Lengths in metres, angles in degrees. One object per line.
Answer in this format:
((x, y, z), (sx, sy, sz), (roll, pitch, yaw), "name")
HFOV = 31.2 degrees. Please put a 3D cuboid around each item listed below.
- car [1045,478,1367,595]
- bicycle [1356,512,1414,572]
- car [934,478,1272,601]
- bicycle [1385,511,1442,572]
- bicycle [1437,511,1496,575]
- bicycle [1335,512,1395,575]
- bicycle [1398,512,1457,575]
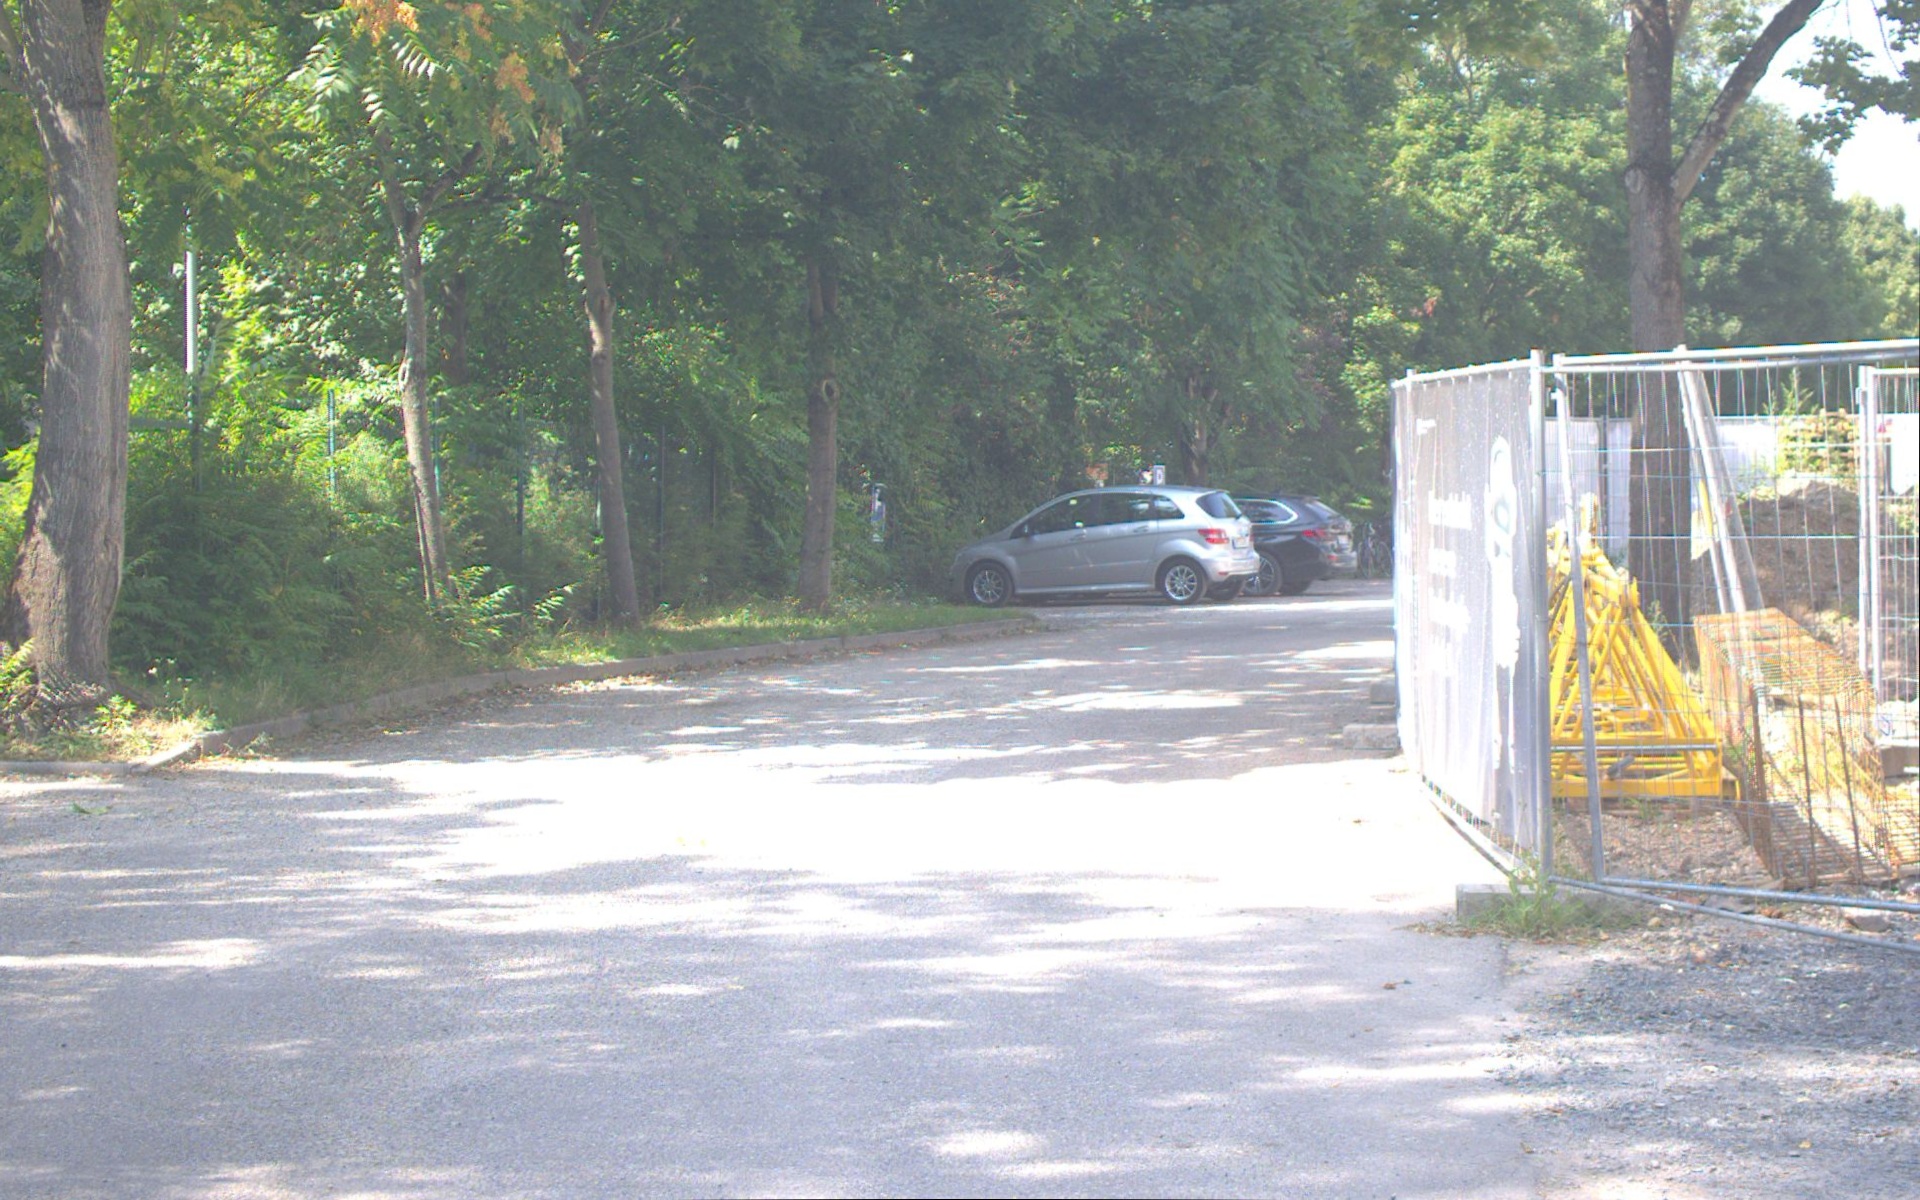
((3.510, -0.930, 48.939), (4.152, 1.607, 1.998), (1, 2, 23), "car")
((7.927, -1.087, 64.071), (0.499, 1.104, 1.798), (1, 2, 26), "bicycle")
((1.952, -0.849, 46.700), (4.152, 1.607, 1.998), (1, 2, 23), "car")
((8.434, -1.095, 63.881), (0.499, 1.104, 1.798), (1, 2, 26), "bicycle")
((9.028, -1.028, 61.228), (0.499, 1.104, 1.798), (1, 2, 26), "bicycle")
((7.317, -1.032, 62.040), (0.499, 1.104, 1.798), (1, 2, 26), "bicycle")
((8.423, -1.020, 61.903), (0.499, 1.104, 1.798), (1, 2, 26), "bicycle")
